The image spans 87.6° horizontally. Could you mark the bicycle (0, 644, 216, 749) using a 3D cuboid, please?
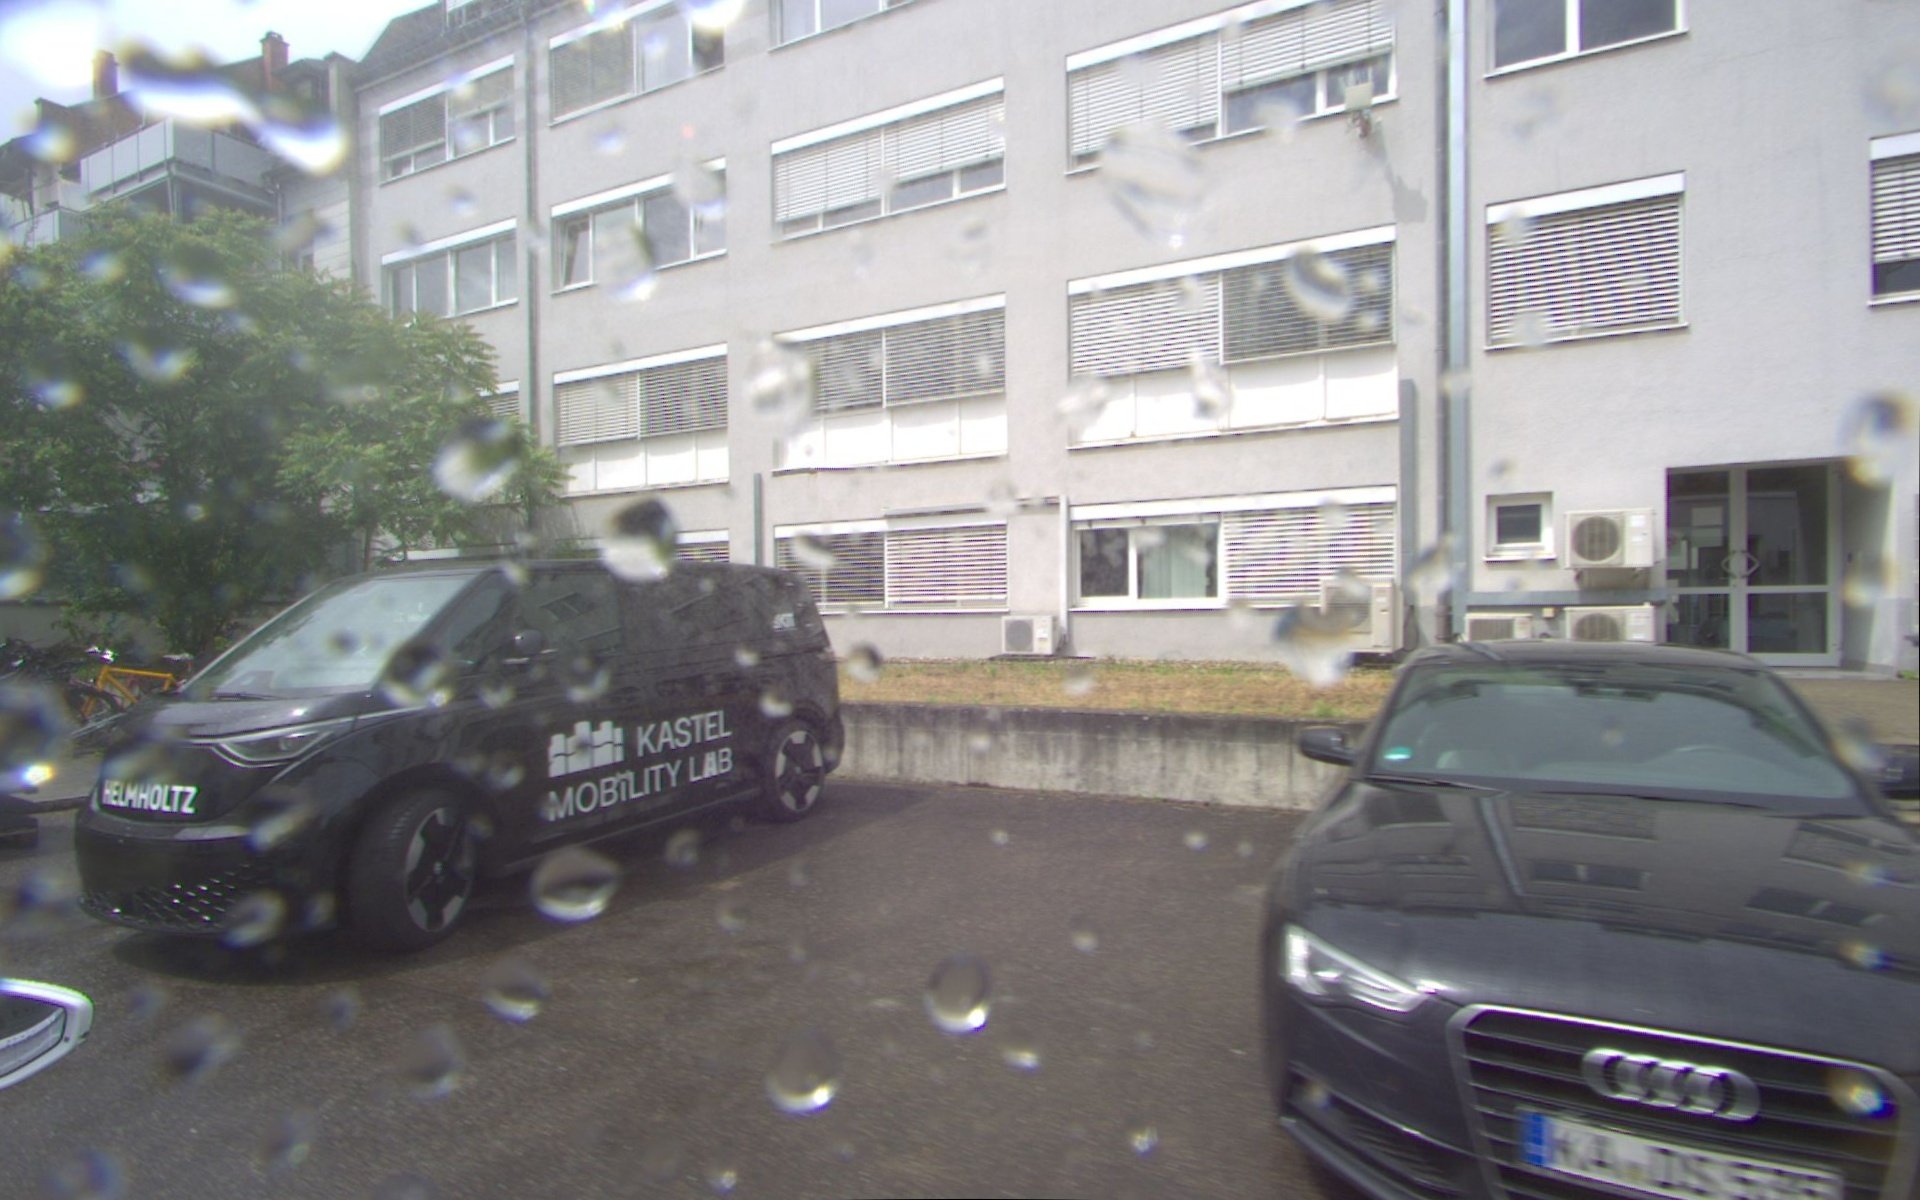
[{"bbox_3d":[-10.277,1.062,11.406,0.679,1.092,2.840,1,-1,31],"label":"bicycle"}]

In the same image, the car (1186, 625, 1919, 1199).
[{"bbox_3d":[2.300,0.842,3.776,1.831,1.366,4.351,0,0,27],"label":"car"}]

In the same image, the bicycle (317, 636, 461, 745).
[{"bbox_3d":[-6.656,1.019,11.659,1.696,1.174,0.613,-1,0,27],"label":"bicycle"}]

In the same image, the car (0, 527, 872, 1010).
[{"bbox_3d":[-2.701,0.631,6.418,2.077,1.858,4.705,-1,1,27],"label":"car"}]

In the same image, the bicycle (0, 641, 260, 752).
[{"bbox_3d":[-9.561,1.020,11.107,0.679,1.092,2.920,1,-1,31],"label":"bicycle"}]

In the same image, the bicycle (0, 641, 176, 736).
[{"bbox_3d":[-11.428,1.059,12.243,0.679,1.092,2.840,1,-1,31],"label":"bicycle"}]

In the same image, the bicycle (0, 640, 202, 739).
[{"bbox_3d":[-10.815,1.032,11.896,0.679,1.092,2.840,1,-1,31],"label":"bicycle"}]

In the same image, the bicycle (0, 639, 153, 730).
[{"bbox_3d":[-12.022,1.055,12.609,0.679,1.092,2.840,1,-1,31],"label":"bicycle"}]
